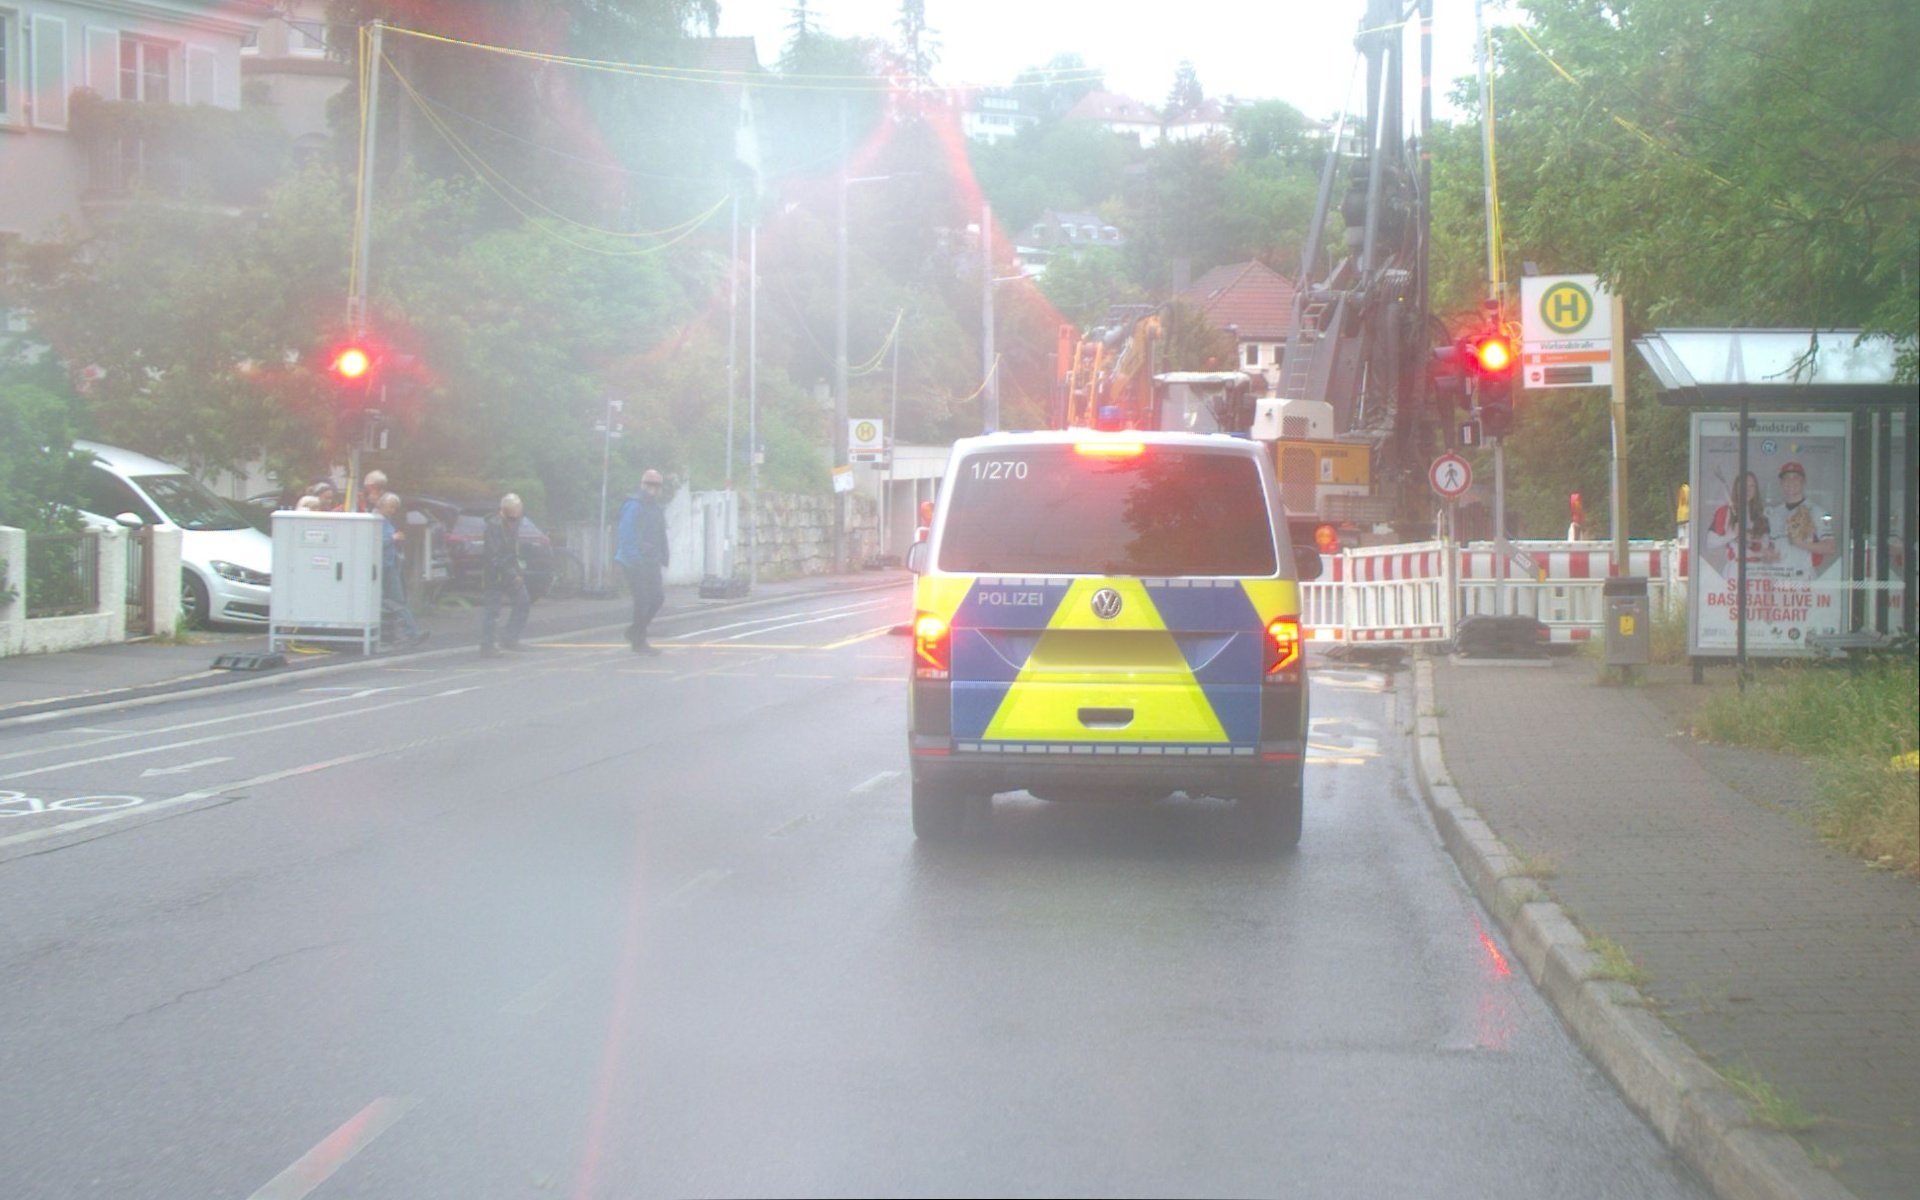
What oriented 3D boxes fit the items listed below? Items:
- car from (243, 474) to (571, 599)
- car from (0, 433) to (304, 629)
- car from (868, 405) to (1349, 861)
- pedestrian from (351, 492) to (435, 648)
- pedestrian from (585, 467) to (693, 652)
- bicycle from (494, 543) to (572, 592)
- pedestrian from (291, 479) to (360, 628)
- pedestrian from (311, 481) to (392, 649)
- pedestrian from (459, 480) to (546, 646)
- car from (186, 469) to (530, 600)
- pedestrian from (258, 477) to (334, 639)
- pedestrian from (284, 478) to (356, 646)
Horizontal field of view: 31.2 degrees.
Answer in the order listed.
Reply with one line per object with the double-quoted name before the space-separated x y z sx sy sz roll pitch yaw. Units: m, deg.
"car" -7.531 -0.858 46.907 3.990 1.481 1.758 3 -1 14
"car" -9.392 -0.772 37.407 3.990 2.007 1.829 2 1 15
"car" 0.898 0.069 17.452 1.994 2.006 4.401 0 2 8
"pedestrian" -5.663 -0.294 34.362 0.626 1.516 0.592 3 -1 5
"pedestrian" -3.195 -0.398 34.253 0.890 1.781 0.828 3 -1 2
"bicycle" -6.183 -0.469 49.768 1.054 0.660 0.320 2 -1 14
"pedestrian" -6.542 -0.475 35.458 0.525 1.501 0.429 3 -1 5
"pedestrian" -6.339 -0.359 35.839 0.626 1.709 0.592 3 -1 5
"pedestrian" -4.519 -0.359 33.994 0.686 1.598 0.606 3 -1 2
"car" -7.820 -0.844 44.772 3.990 1.481 1.758 3 -1 14
"pedestrian" -6.599 -0.414 34.178 0.563 1.577 0.468 3 -1 5
"pedestrian" -6.467 -0.378 34.746 0.549 1.662 0.414 3 -1 5
